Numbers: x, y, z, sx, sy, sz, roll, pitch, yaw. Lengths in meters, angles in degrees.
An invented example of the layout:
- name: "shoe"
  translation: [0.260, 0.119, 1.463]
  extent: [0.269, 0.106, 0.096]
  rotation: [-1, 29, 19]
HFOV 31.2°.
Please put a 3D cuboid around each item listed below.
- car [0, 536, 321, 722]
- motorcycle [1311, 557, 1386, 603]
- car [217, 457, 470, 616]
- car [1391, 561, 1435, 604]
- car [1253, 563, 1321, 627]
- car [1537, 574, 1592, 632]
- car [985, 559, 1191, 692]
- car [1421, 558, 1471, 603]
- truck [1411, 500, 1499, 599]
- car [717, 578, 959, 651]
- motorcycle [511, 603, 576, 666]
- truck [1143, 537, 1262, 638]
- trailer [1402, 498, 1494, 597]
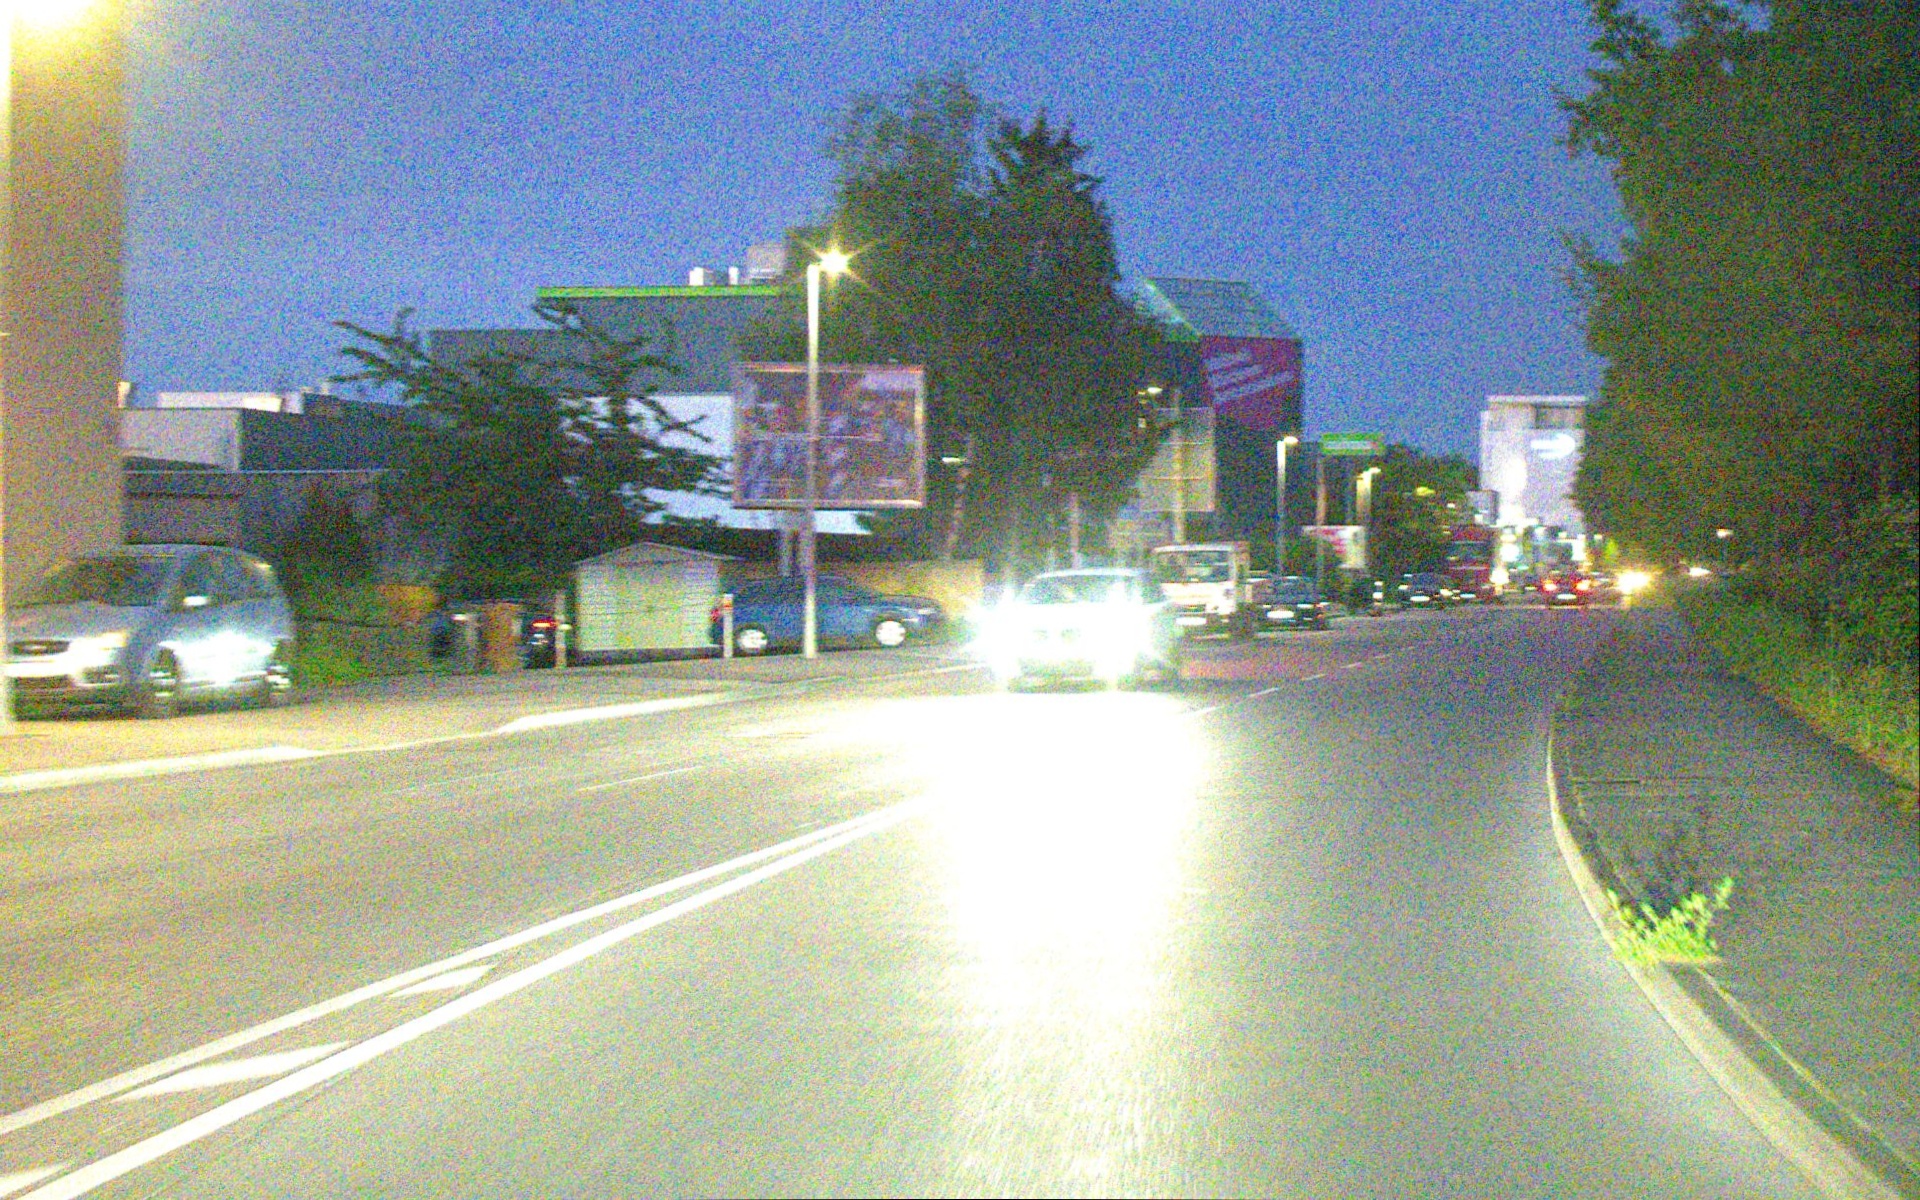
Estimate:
- name: "car"
  translation: [-7.664, 0.236, 32.243]
  extent: [1.756, 1.602, 4.450]
  rotation: [1, 0, 11]
- name: "motorcycle"
  translation: [17.531, -0.908, 155.012]
  extent: [1.321, 2.006, 3.991]
  rotation: [4, 3, 39]
- name: "car"
  translation: [-8.403, -0.910, 47.219]
  extent: [1.995, 2.006, 3.998]
  rotation: [3, 3, 12]
- name: "car"
  translation: [18.675, -0.736, 141.859]
  extent: [1.725, 1.733, 3.807]
  rotation: [0, 0, 6]
- name: "car"
  translation: [8.578, -0.149, 89.962]
  extent: [1.718, 1.612, 3.838]
  rotation: [-1, 1, 6]
- name: "car"
  translation: [23.605, 0.098, 134.414]
  extent: [1.994, 2.006, 3.999]
  rotation: [-2, 2, 9]
- name: "car"
  translation: [1.708, 0.294, 44.248]
  extent: [1.756, 1.602, 4.449]
  rotation: [-1, 1, 14]
- name: "car"
  translation: [21.759, -0.874, 154.006]
  extent: [1.994, 1.890, 4.000]
  rotation: [-1, 1, 5]
- name: "truck"
  translation: [25.768, -2.676, 179.270]
  extent: [3.841, 4.874, 6.353]
  rotation: [2, 2, 4]
- name: "car"
  translation: [-2.282, 0.258, 64.890]
  extent: [4.350, 1.355, 1.642]
  rotation: [0, 0, 9]
- name: "motorcycle"
  translation: [-7.959, 0.651, 65.777]
  extent: [0.985, 1.140, 1.849]
  rotation: [1, 0, 1]
- name: "truck"
  translation: [5.386, -0.285, 75.802]
  extent: [2.249, 2.122, 5.978]
  rotation: [-1, 0, 7]
- name: "trailer"
  translation: [26.098, -2.909, 184.318]
  extent: [3.841, 4.874, 10.808]
  rotation: [2, 2, 4]
